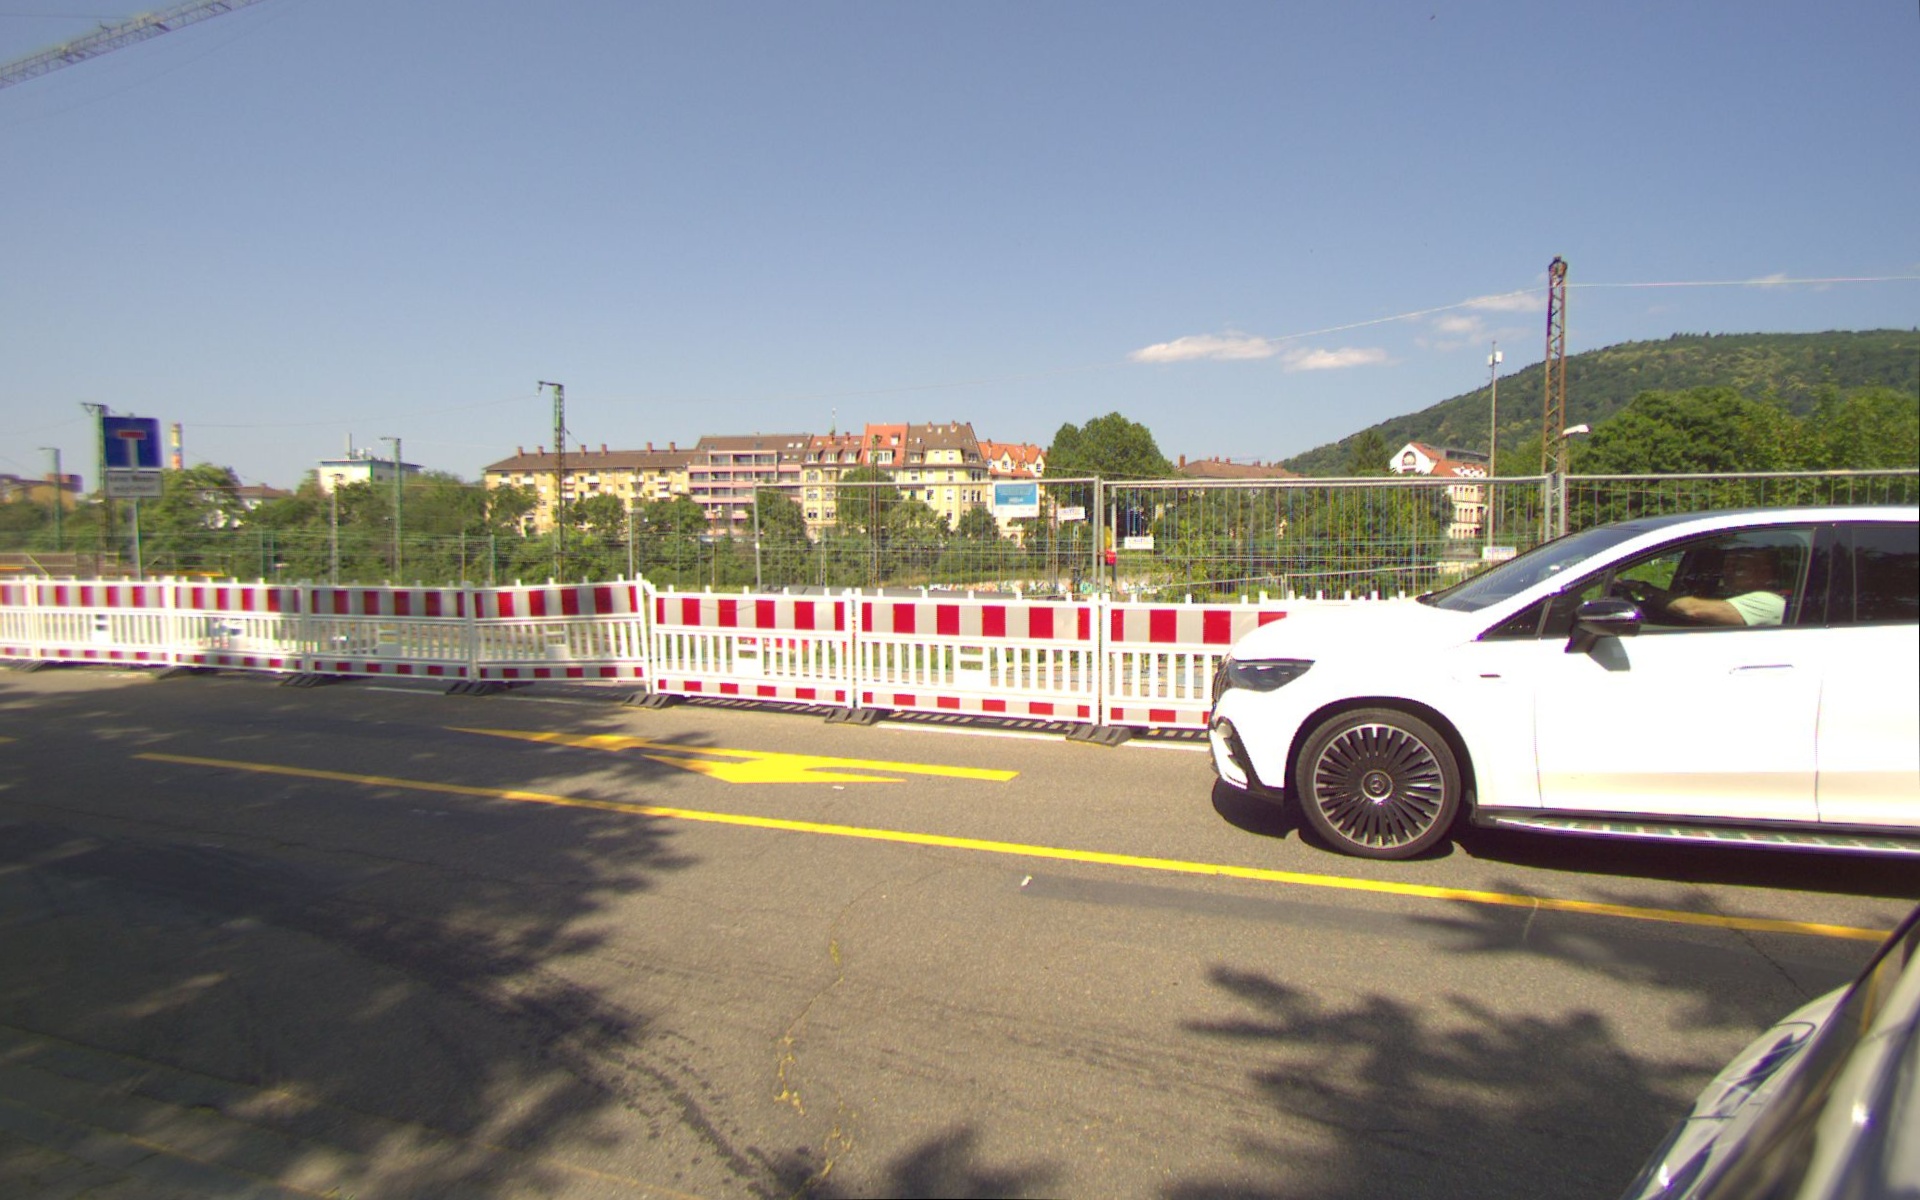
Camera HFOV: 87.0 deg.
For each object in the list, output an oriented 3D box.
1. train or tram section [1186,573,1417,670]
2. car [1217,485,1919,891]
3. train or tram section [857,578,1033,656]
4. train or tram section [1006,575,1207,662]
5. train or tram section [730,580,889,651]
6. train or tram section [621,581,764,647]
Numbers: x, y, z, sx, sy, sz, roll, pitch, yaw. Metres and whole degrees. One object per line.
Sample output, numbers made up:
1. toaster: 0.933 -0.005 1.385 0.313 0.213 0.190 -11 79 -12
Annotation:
1. train or tram section: 14.383 0.828 42.901 8.898 3.759 2.992 0 0 31
2. car: 3.947 0.311 5.175 4.968 1.664 1.988 1 3 20
3. train or tram section: -0.855 0.795 51.984 8.898 3.750 2.992 0 0 31
4. train or tram section: 6.765 0.793 47.434 8.898 3.750 2.992 0 0 31
5. train or tram section: -8.489 0.798 56.528 8.894 3.750 2.993 0 0 30
6. train or tram section: -16.179 0.796 60.961 8.894 3.750 2.993 0 0 30
